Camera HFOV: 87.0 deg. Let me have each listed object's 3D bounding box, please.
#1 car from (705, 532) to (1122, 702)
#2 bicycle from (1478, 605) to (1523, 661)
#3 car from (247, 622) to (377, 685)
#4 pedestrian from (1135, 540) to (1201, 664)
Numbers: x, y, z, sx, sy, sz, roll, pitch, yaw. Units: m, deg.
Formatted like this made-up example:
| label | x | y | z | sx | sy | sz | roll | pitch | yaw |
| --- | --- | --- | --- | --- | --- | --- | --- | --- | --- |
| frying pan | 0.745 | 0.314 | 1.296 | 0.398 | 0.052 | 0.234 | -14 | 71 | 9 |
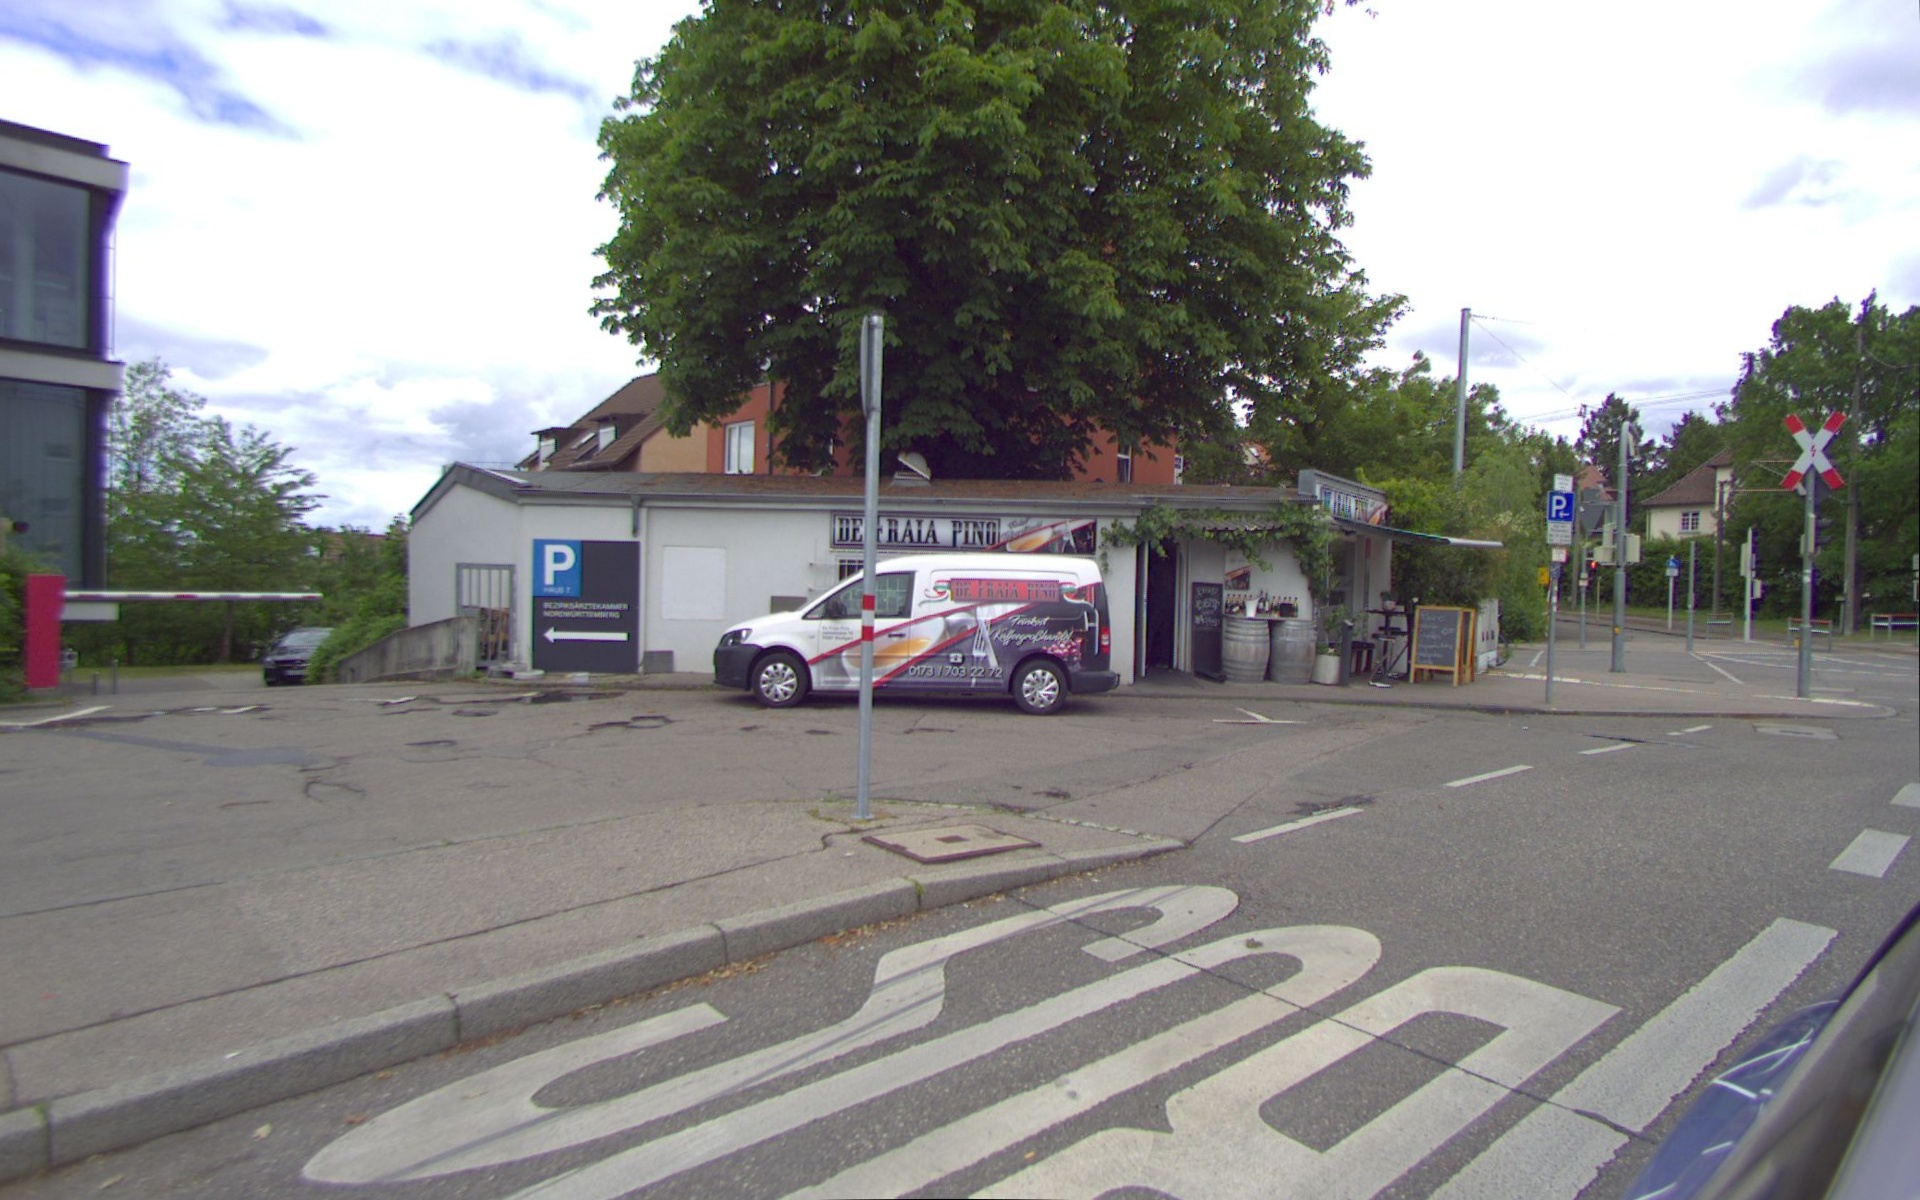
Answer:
| label | x | y | z | sx | sy | sz | roll | pitch | yaw |
| --- | --- | --- | --- | --- | --- | --- | --- | --- | --- |
| car | -0.544 | 0.179 | 12.211 | 4.604 | 1.770 | 1.852 | 2 | 1 | -2 |
| bicycle | 11.758 | 0.731 | 22.000 | 0.547 | 1.154 | 1.852 | 1 | -3 | 37 |
| car | -17.664 | 1.405 | 27.786 | 1.737 | 1.467 | 3.869 | 0 | 0 | -12 |
| pedestrian | 3.256 | 0.021 | 15.881 | 0.611 | 1.880 | 0.688 | 3 | 0 | -24 |
